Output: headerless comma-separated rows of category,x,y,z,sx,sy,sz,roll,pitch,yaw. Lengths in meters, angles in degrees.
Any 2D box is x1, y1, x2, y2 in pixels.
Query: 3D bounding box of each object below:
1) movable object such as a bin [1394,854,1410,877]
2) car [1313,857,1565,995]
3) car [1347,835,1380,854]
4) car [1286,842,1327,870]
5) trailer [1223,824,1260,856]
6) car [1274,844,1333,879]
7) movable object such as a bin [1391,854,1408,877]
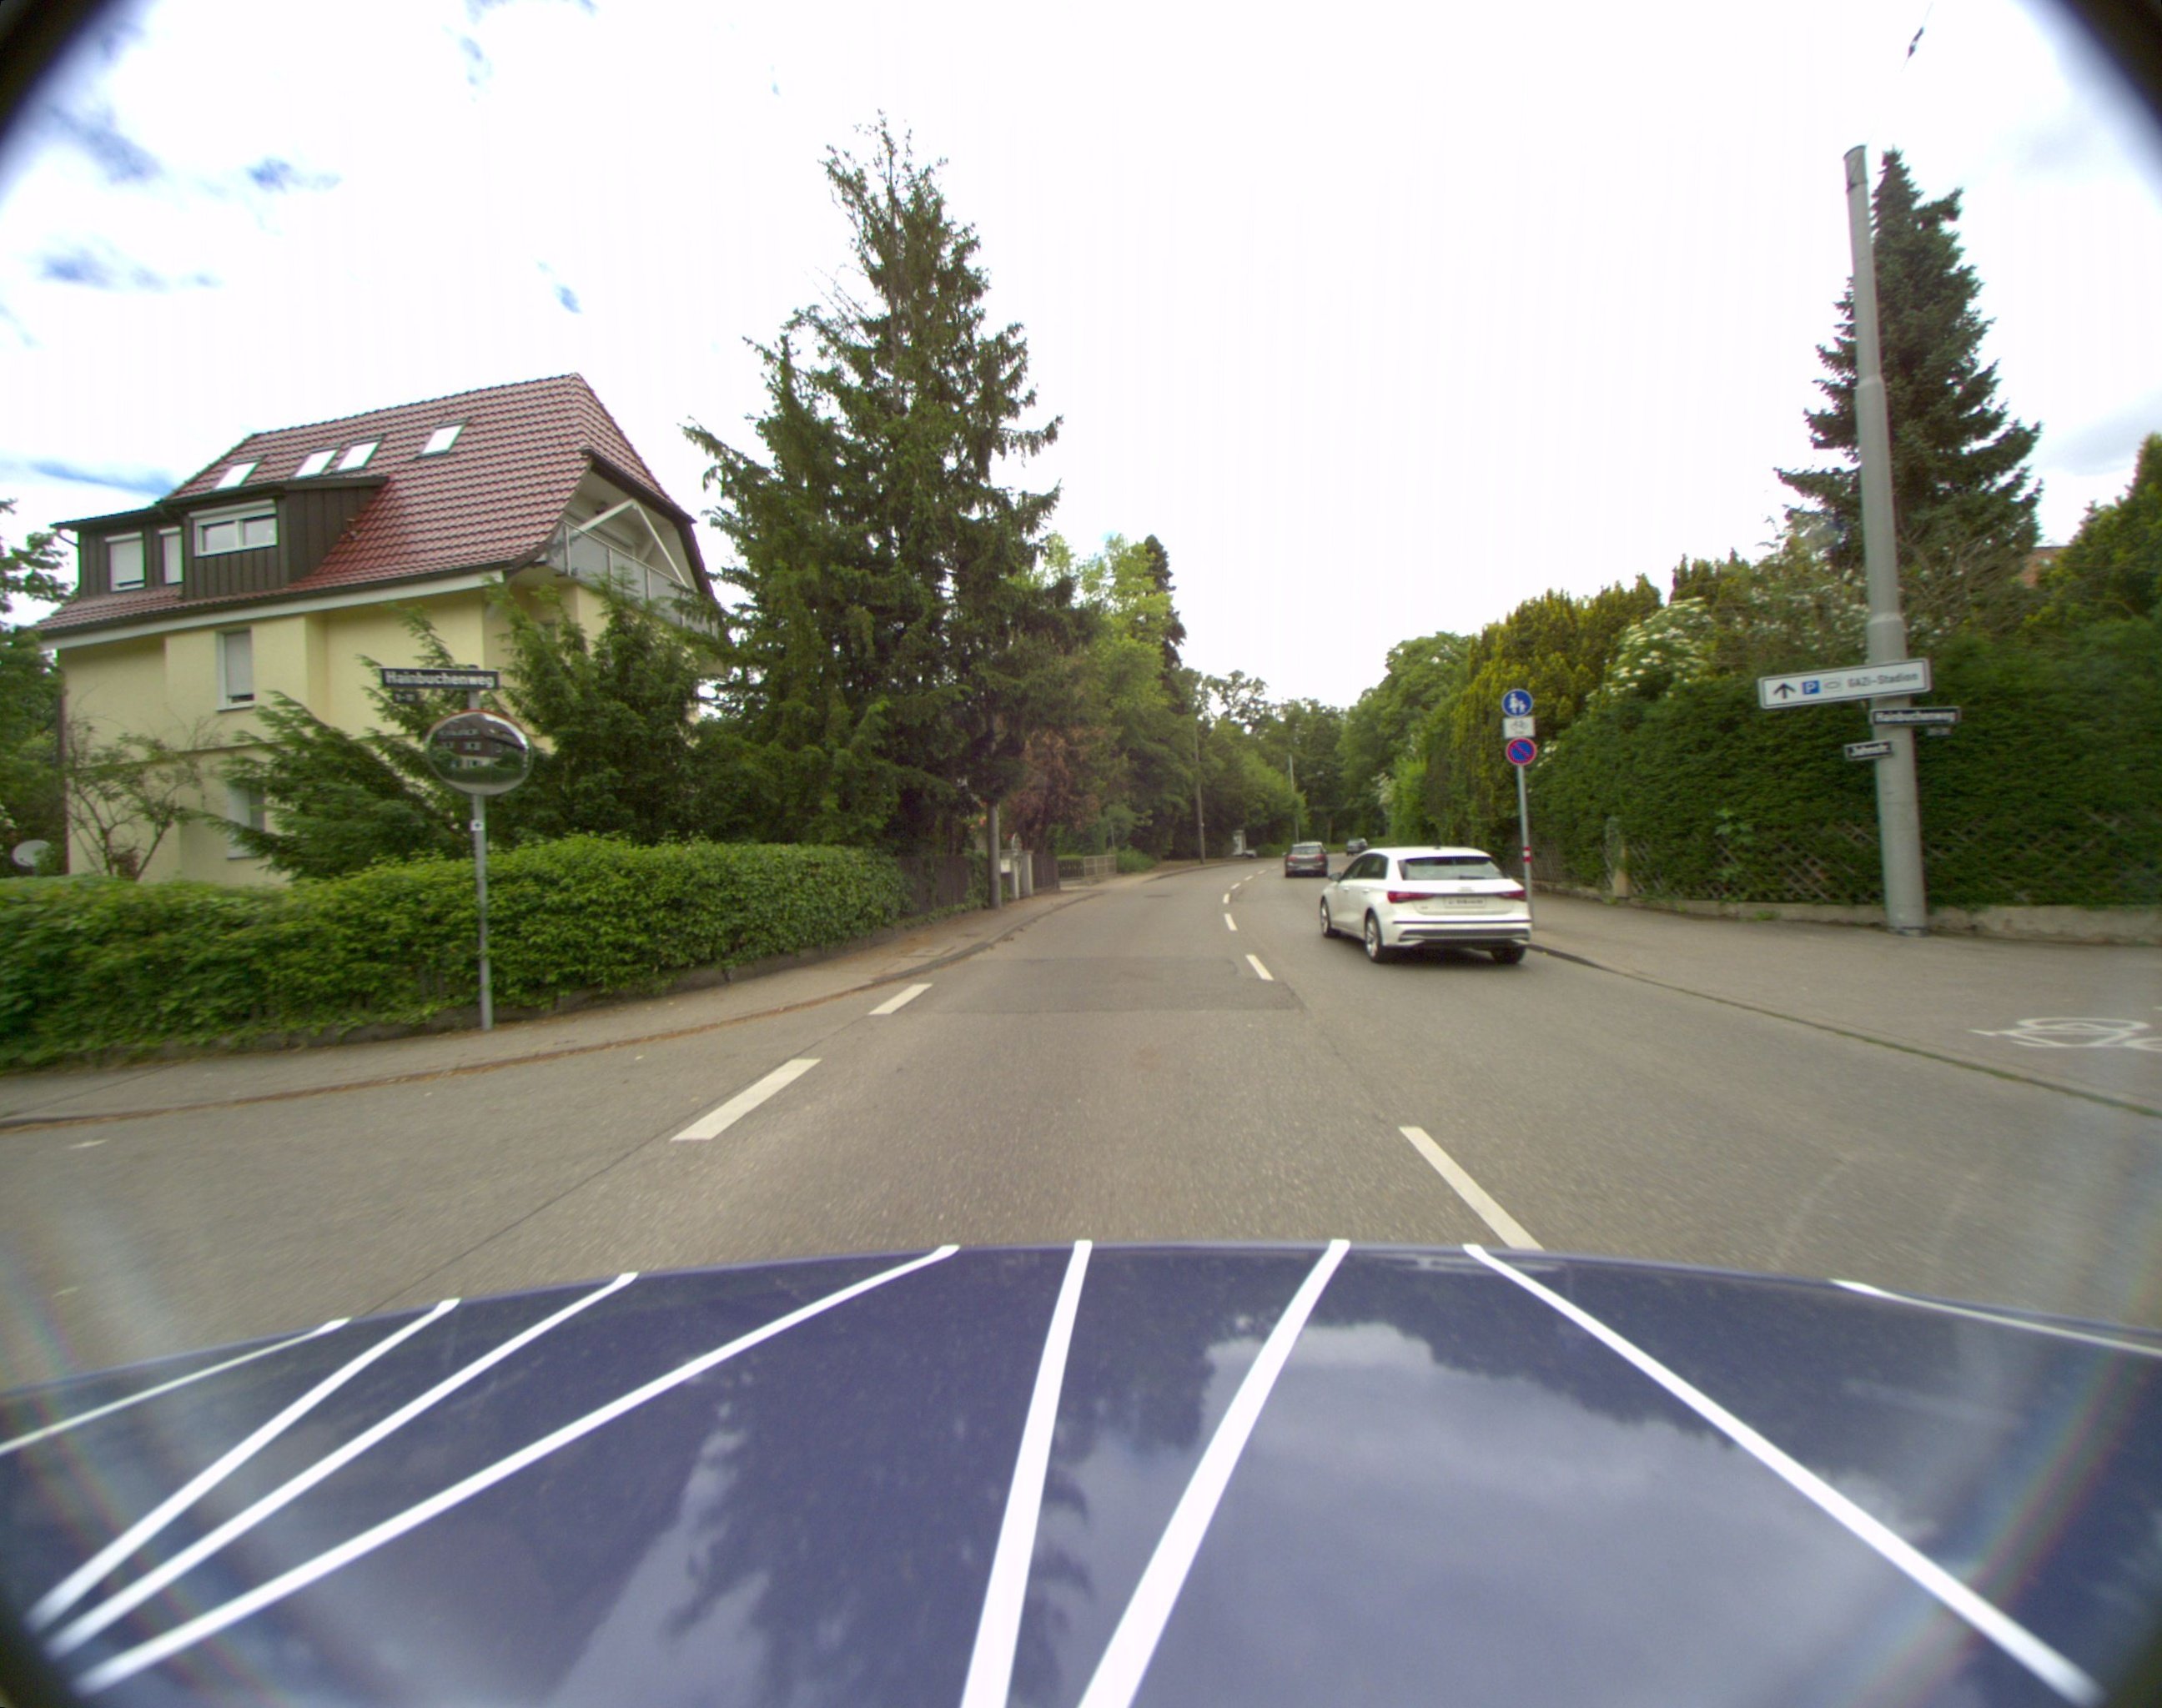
movable object such as a bin,16.445,0.568,38.916,0.630,1.138,0.647,-4,0,19
car,4.576,0.806,10.464,1.811,1.434,4.199,-1,1,5
car,26.336,-0.881,70.839,1.994,1.609,4.006,1,4,33
car,12.963,0.086,43.839,1.905,1.445,3.800,-3,0,13
trailer,15.303,-1.293,72.540,3.119,2.882,1.595,-2,0,25
car,9.554,0.293,32.885,1.916,1.390,3.911,-1,0,9
movable object such as a bin,16.715,0.596,39.885,0.742,1.134,0.647,-4,0,19
